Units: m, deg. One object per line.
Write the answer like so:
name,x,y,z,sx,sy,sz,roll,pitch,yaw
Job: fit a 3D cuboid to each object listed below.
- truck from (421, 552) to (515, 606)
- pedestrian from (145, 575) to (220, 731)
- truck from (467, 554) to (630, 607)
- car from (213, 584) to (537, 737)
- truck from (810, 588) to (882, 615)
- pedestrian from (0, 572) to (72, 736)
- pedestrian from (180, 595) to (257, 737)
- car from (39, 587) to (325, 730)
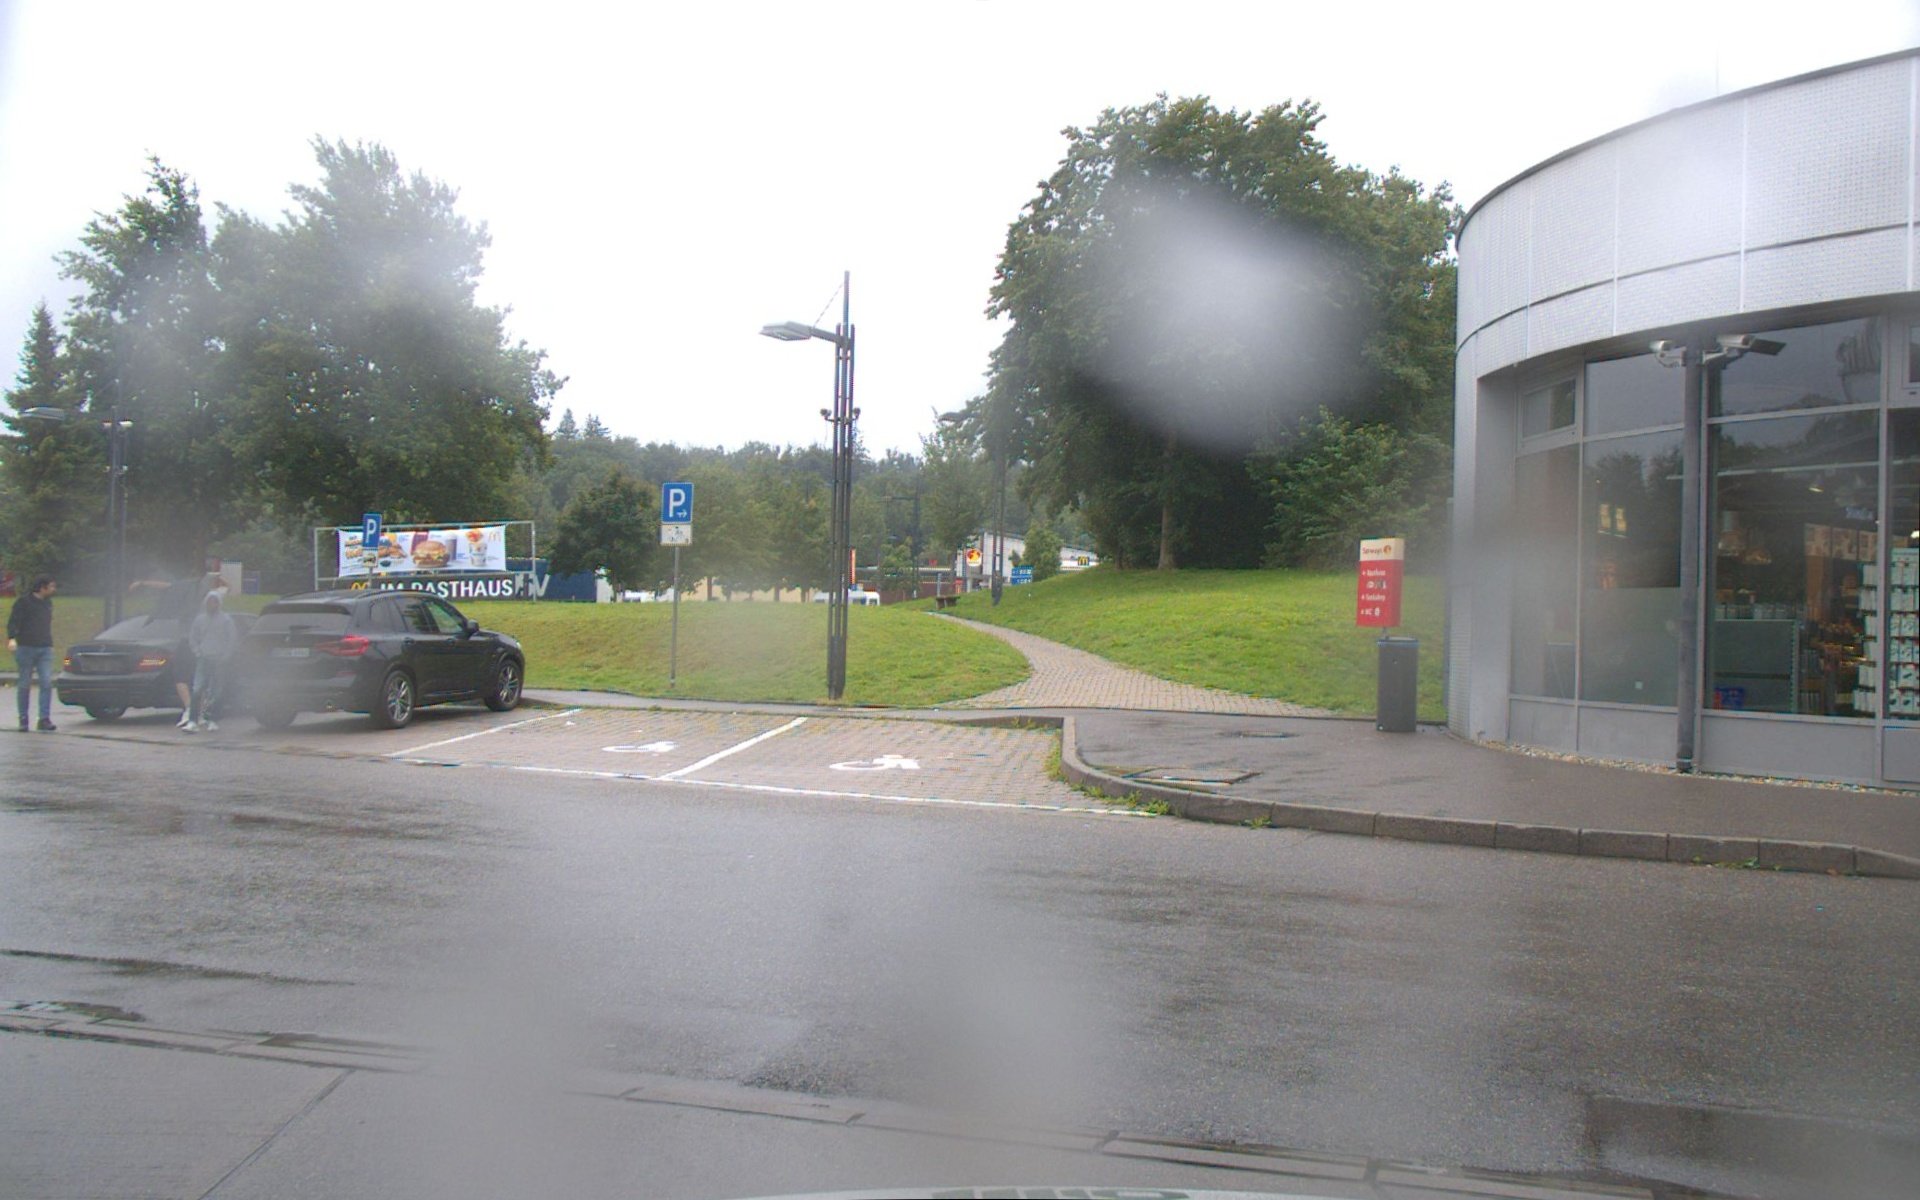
truck,-27.980,-1.173,94.241,2.142,2.971,5.384,1,0,24
pedestrian,-9.834,0.655,20.910,0.695,1.920,0.943,1,-1,-34
truck,-24.929,-1.090,101.257,2.142,2.971,13.092,1,0,23
car,-7.364,0.690,21.359,1.973,1.741,4.347,-1,1,11
truck,-9.233,0.138,133.654,5.298,2.049,2.366,1,0,24
pedestrian,-11.156,0.639,19.990,0.693,1.920,0.886,1,-1,-27
pedestrian,-8.905,0.775,19.889,0.690,1.660,0.949,1,-1,-17
car,-10.571,0.716,22.877,1.976,1.741,4.342,-1,1,-2
